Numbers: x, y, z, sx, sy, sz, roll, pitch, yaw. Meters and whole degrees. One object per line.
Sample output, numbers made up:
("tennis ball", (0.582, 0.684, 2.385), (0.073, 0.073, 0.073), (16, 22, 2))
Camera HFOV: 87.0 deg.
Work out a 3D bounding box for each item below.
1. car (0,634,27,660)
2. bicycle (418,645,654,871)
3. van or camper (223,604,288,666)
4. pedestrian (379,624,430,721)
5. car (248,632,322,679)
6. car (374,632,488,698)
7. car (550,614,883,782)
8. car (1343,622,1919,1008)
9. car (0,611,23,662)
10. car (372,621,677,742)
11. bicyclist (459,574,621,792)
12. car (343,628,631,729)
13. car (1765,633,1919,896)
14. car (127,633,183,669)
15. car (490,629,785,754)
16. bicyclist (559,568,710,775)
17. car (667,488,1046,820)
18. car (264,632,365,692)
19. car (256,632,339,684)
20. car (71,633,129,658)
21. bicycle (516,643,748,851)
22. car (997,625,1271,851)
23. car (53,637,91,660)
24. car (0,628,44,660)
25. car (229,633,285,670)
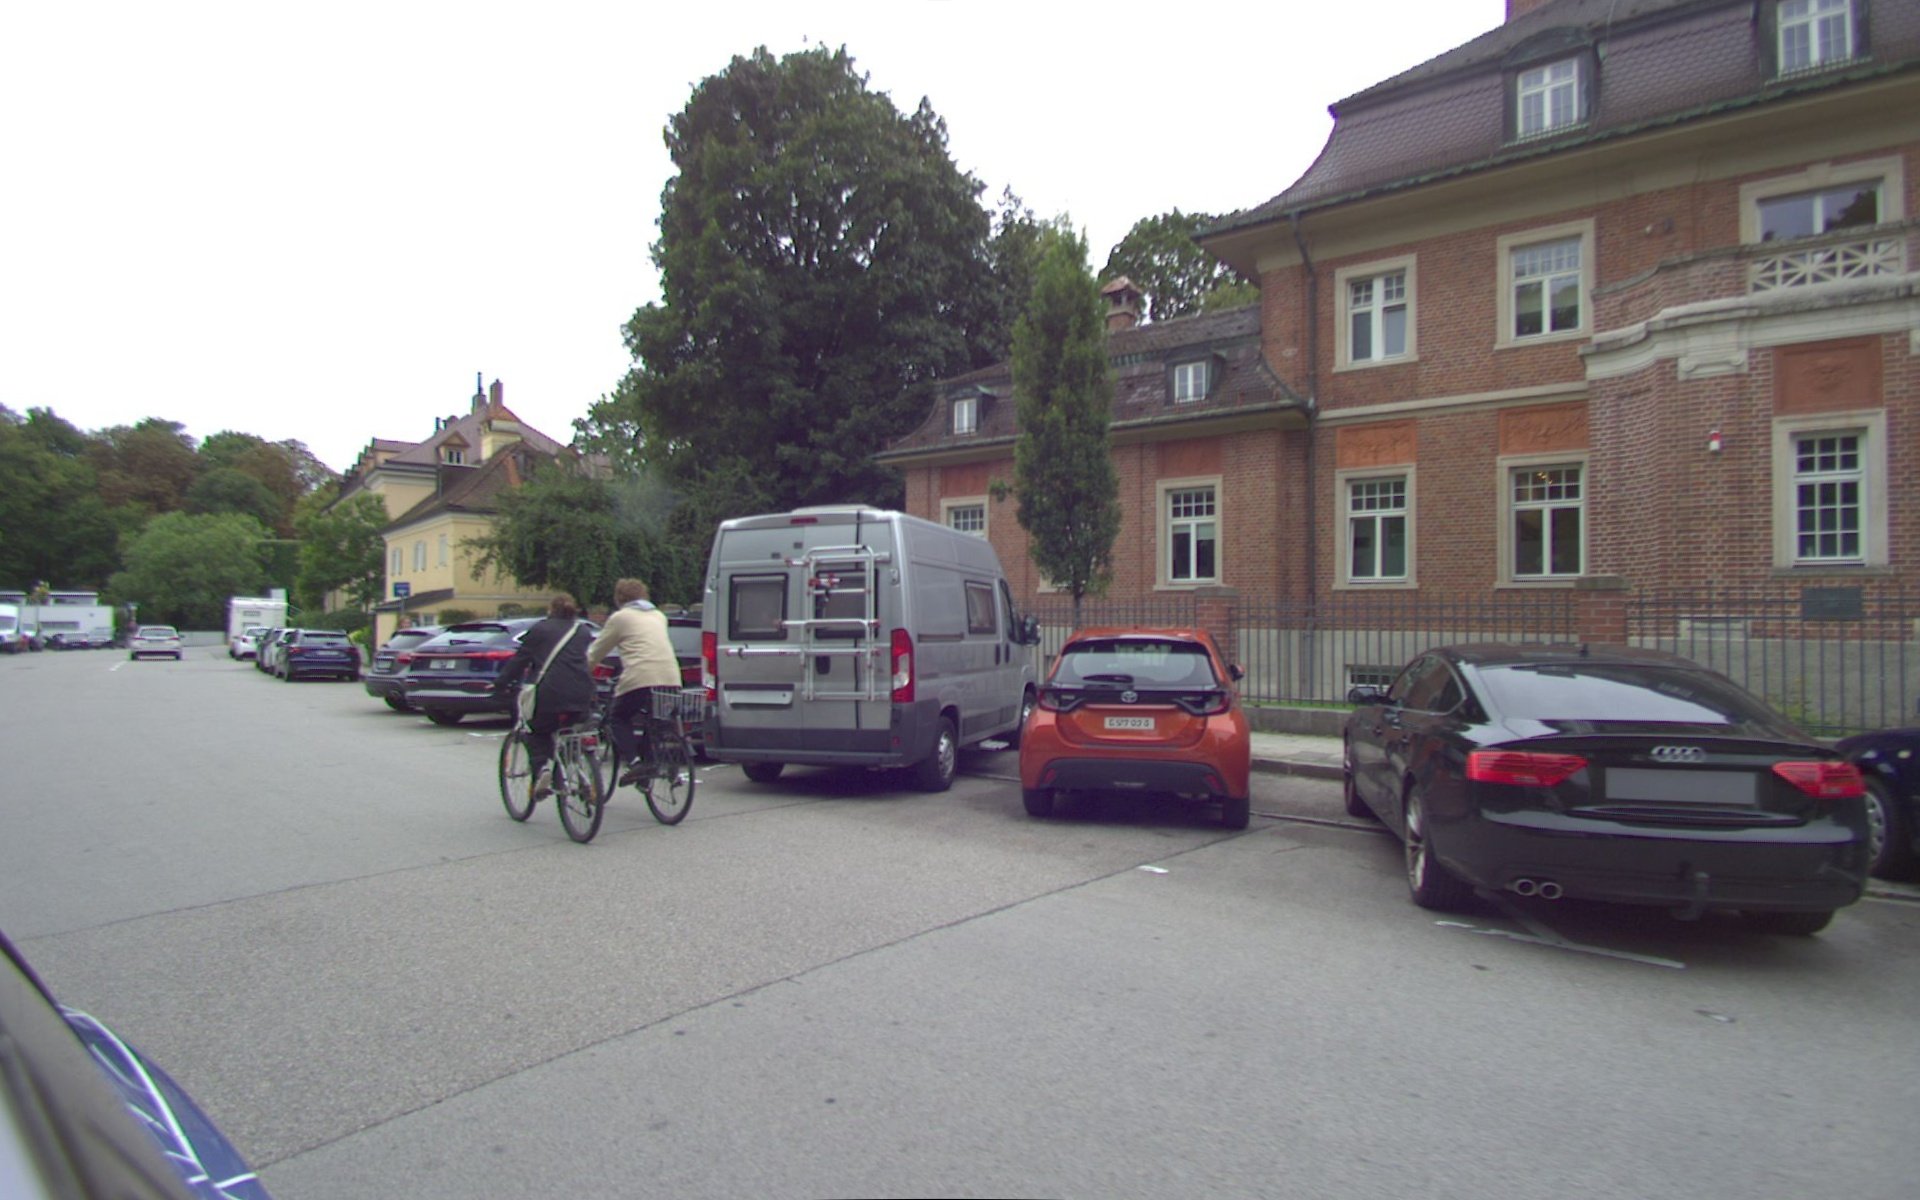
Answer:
("car", (-57.482, 2.810, 60.746), (1.847, 1.518, 4.846), (4, -5, -39))
("bicycle", (-2.998, 0.986, 7.029), (2.118, 1.315, 0.699), (-2, -3, 43))
("van or camper", (-36.149, 1.829, 51.844), (2.423, 2.963, 7.227), (3, -4, -36))
("pedestrian", (-9.823, 1.265, 17.895), (0.583, 1.660, 0.715), (3, -4, -45))
("car", (-24.381, 1.977, 36.490), (1.821, 1.547, 4.450), (4, -4, -38))
("car", (-13.653, 1.649, 25.999), (1.718, 1.547, 4.156), (4, -4, -39))
("car", (-2.742, 1.096, 12.648), (1.951, 1.638, 4.500), (1, -2, 18))
("car", (3.683, 0.931, 6.200), (1.959, 1.462, 4.506), (0, -3, 14))
("car", (-53.527, 2.031, 55.950), (2.053, 2.707, 6.098), (4, -5, -39))
("car", (-6.631, 1.215, 16.059), (1.949, 1.606, 4.500), (0, -3, 18))
("bicyclist", (-2.880, 0.538, 6.933), (0.930, 1.362, 0.689), (-2, -3, 43))
("car", (-8.359, 1.305, 18.222), (1.931, 1.541, 4.289), (0, -1, 38))
("car", (6.061, 0.875, 4.641), (1.801, 1.462, 4.510), (0, -3, 11))
("car", (-34.868, 2.162, 43.793), (1.750, 1.486, 4.140), (1, -2, -40))
("car", (-4.465, 1.242, 14.824), (1.819, 1.498, 4.394), (1, -3, 19))
("bicyclist", (-2.406, 0.504, 7.476), (0.930, 1.408, 0.689), (-2, -3, 43))
("car", (-0.716, 0.530, 10.420), (2.216, 2.583, 4.609), (-1, -3, 18))
("car", (-18.409, 1.736, 28.775), (1.821, 1.547, 4.569), (4, -4, -39))
("car", (-21.431, 1.860, 32.667), (1.821, 1.547, 4.530), (4, -4, -38))
("car", (-60.252, 3.231, 70.996), (1.965, 1.706, 4.348), (1, -3, -25))
("bicycle", (-2.492, 0.991, 7.528), (2.118, 1.315, 0.699), (-2, -3, 43))
("car", (1.804, 1.000, 9.318), (1.920, 1.528, 4.503), (0, -2, 16))
("car", (-65.819, 3.597, 74.973), (1.870, 1.457, 4.271), (-2, -2, -44))
("car", (-60.543, 2.821, 65.016), (1.909, 1.919, 5.082), (4, -5, -37))
("car", (-31.462, 2.278, 45.266), (1.755, 1.547, 4.236), (4, -4, -38))
